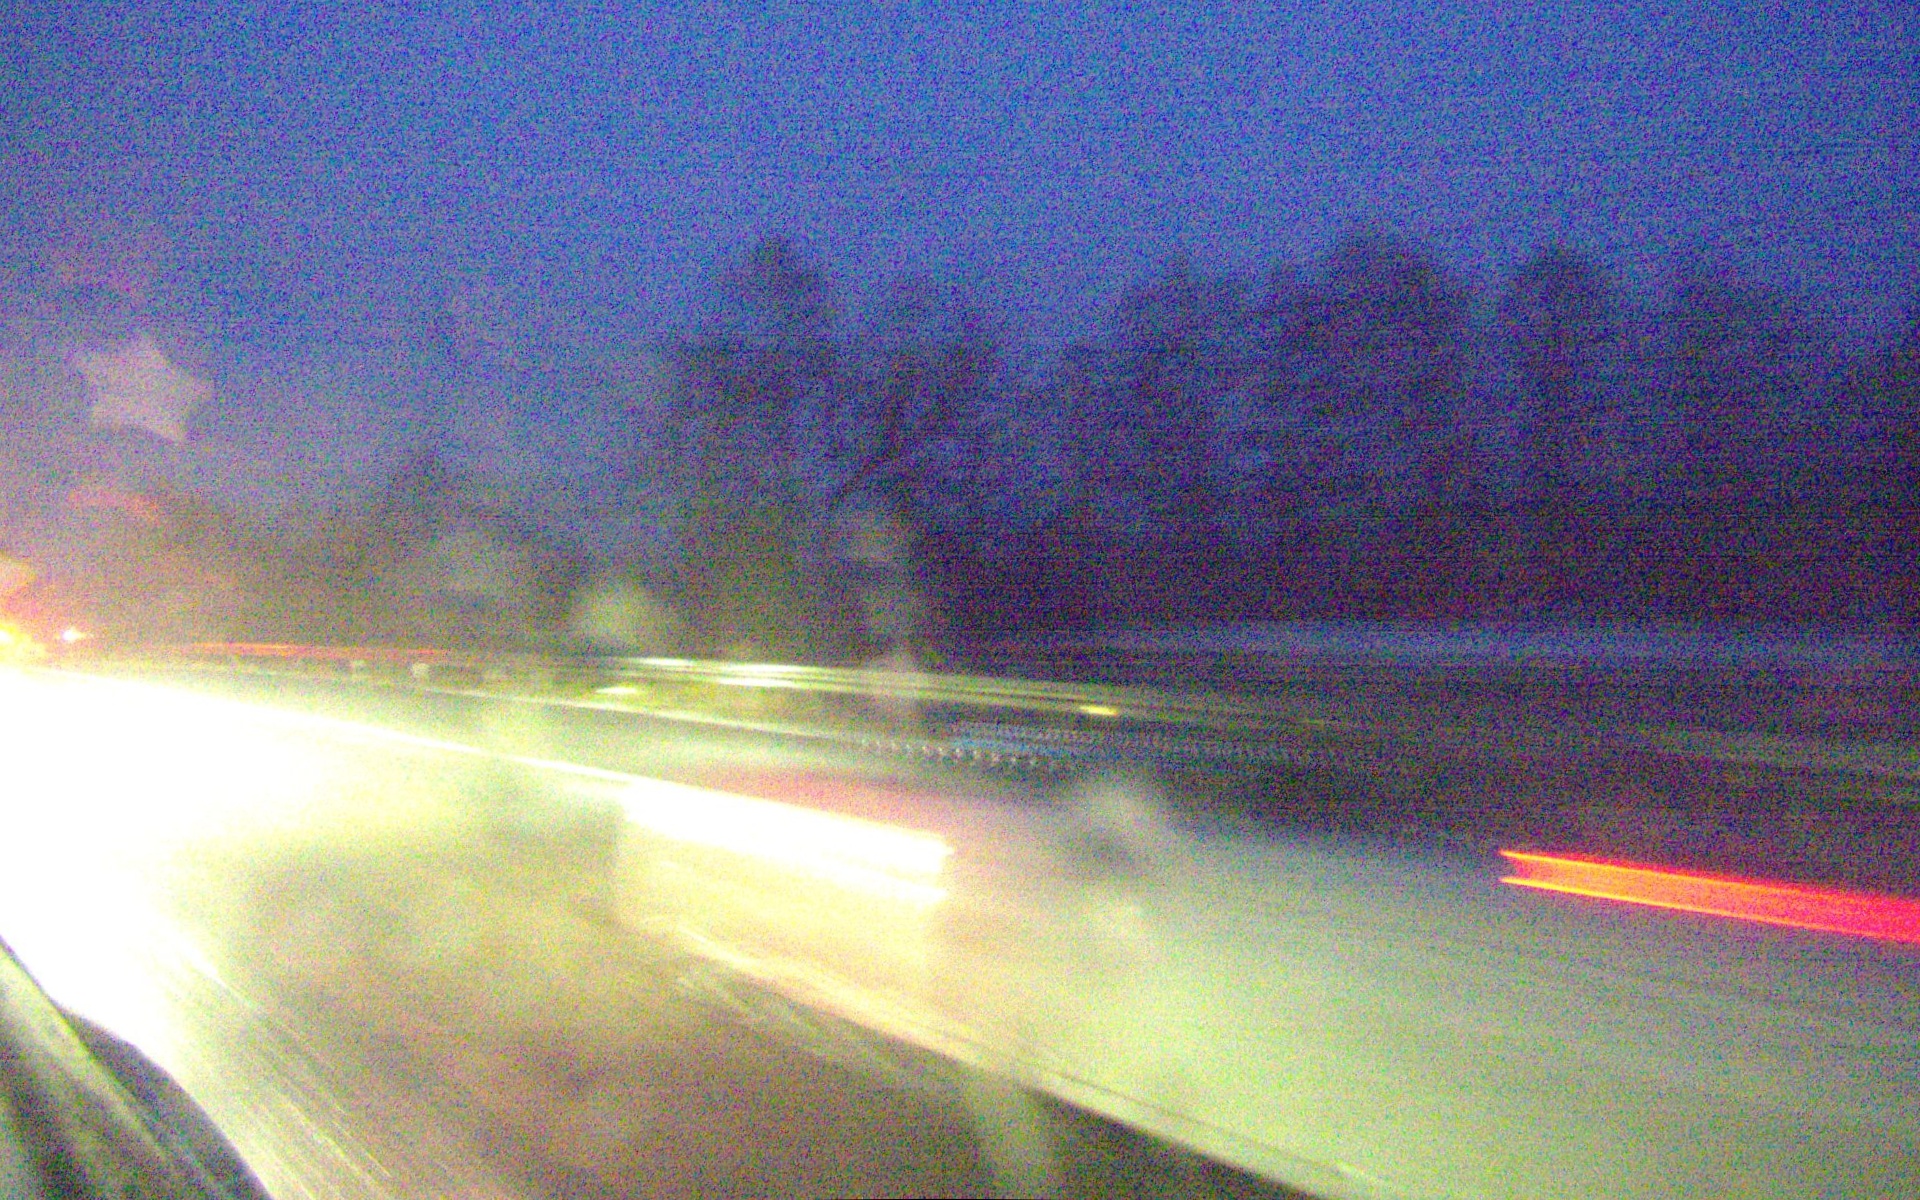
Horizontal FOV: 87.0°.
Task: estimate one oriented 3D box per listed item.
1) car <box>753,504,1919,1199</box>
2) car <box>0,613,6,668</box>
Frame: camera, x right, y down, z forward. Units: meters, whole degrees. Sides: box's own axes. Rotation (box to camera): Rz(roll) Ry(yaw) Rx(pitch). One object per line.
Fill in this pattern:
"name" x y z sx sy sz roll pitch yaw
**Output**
"car" 1.281 0.648 2.780 3.687 1.522 1.754 -2 -2 41
"car" -31.227 1.267 31.503 4.141 1.650 1.840 -2 -2 41
